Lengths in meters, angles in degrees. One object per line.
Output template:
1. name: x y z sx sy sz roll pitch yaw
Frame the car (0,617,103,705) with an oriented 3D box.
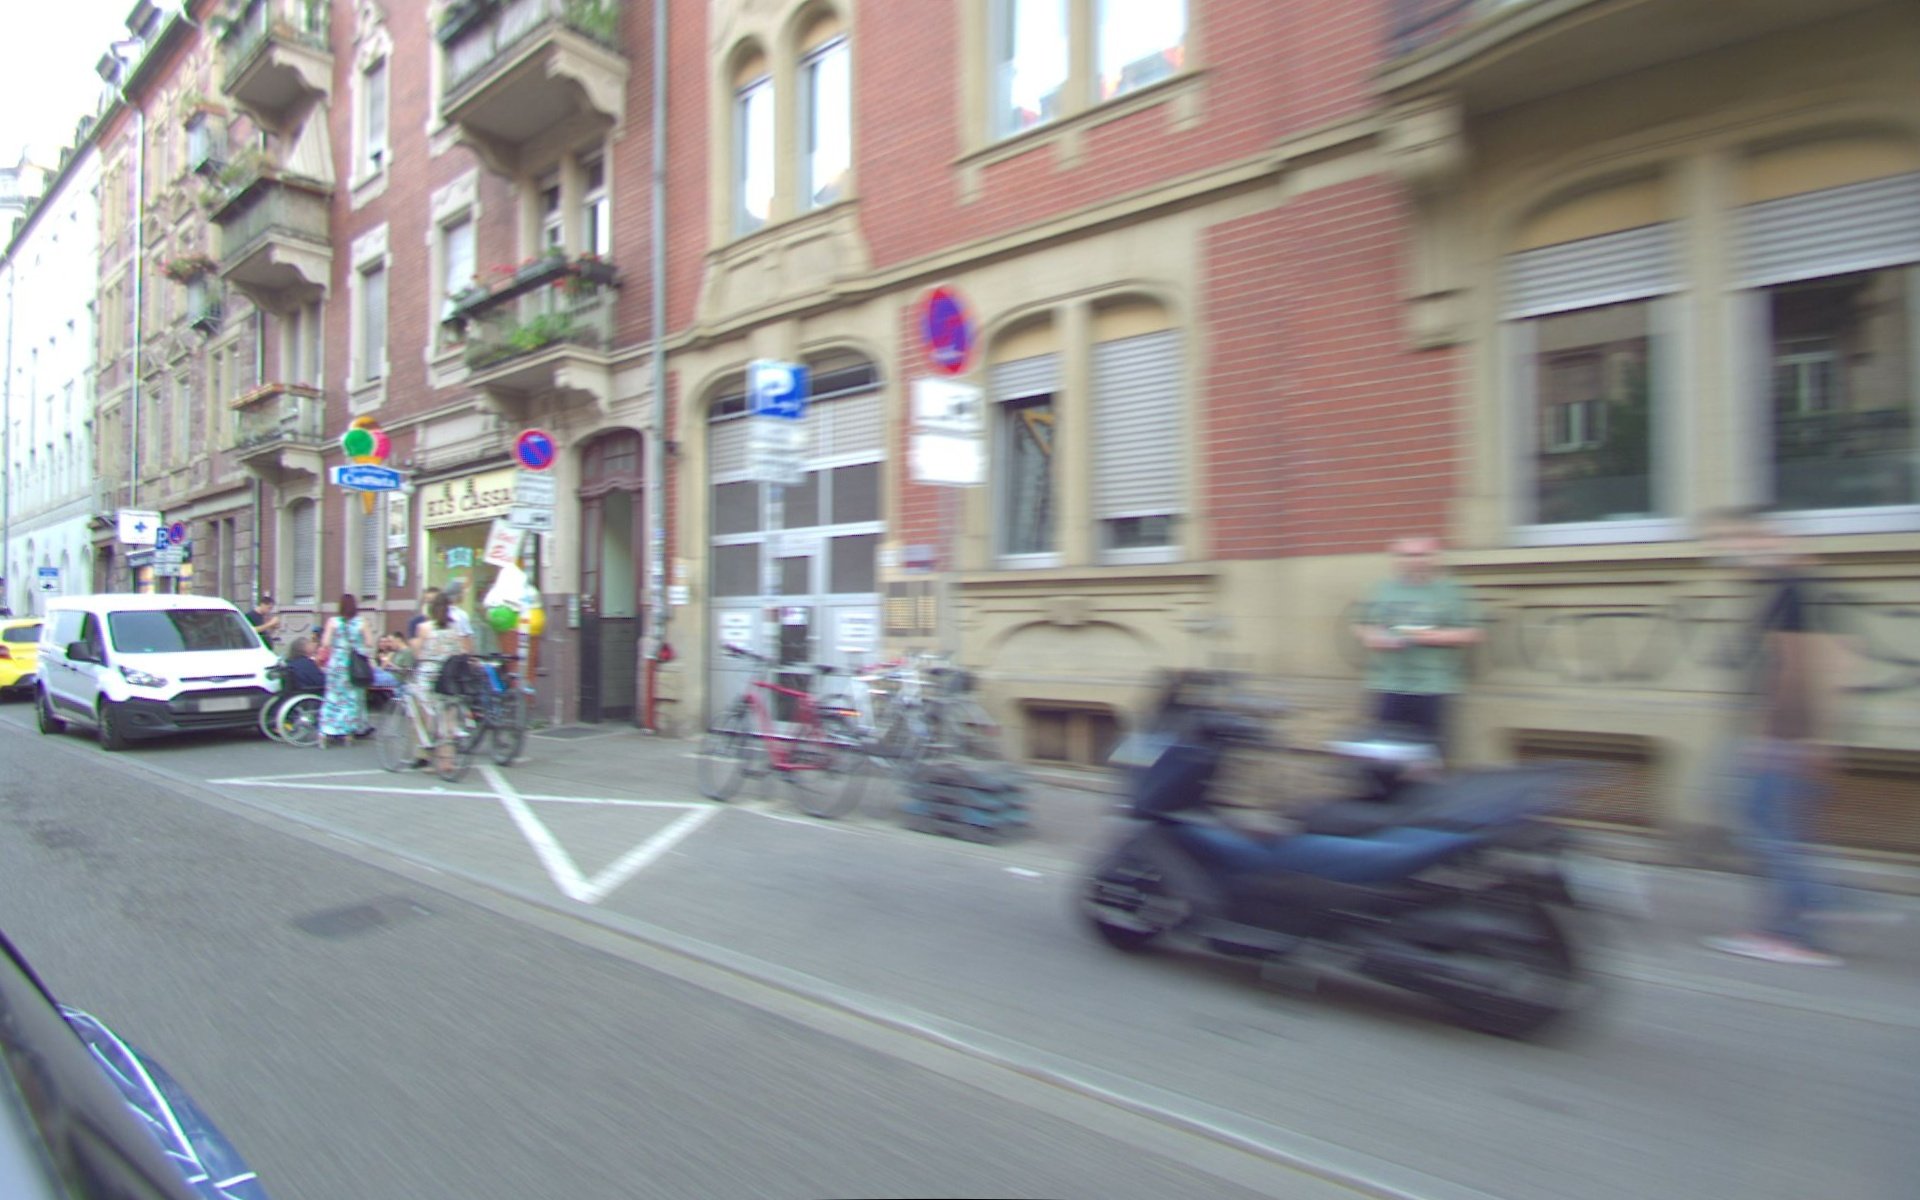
1. car: -17.857 1.115 19.355 3.790 1.541 1.687 -2 -2 41

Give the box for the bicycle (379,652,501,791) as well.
1. bicycle: -4.641 1.031 8.991 1.520 1.076 0.460 -1 0 43

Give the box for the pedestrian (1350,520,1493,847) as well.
1. pedestrian: 2.718 0.460 5.966 0.642 1.803 0.458 -1 0 43

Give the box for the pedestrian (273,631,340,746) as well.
1. pedestrian: -7.527 0.998 11.650 0.652 1.260 0.473 -1 0 40

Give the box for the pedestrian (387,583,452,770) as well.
1. pedestrian: -5.109 0.705 9.568 0.349 1.722 0.414 -1 0 34

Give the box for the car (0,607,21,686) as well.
1. car: -25.534 1.171 25.600 4.899 1.897 1.909 -1 -2 39

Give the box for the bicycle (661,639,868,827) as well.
1. bicycle: -1.458 0.893 7.311 1.836 1.168 0.407 -1 0 40

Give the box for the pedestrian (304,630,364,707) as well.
1. pedestrian: -9.787 1.047 15.822 0.572 1.148 0.626 -1 0 37

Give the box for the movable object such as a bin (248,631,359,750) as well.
1. movable object such as a bin: -7.527 0.998 11.613 0.775 1.260 0.878 -1 0 39

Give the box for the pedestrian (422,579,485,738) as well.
1. pedestrian: -6.088 0.674 12.155 0.590 1.827 0.722 0 0 -33

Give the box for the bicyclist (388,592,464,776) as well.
1. bicyclist: -4.838 0.733 9.173 0.487 1.602 0.460 -1 0 42

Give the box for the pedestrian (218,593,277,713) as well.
1. pedestrian: -10.705 0.778 15.224 0.610 1.743 0.587 -1 0 -23

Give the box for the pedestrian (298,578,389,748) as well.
1. pedestrian: -6.901 0.683 11.336 0.718 1.827 0.593 -1 0 31

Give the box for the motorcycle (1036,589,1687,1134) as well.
1. motorcycle: 1.277 0.685 3.561 2.014 1.415 0.677 -1 0 42

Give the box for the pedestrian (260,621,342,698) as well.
1. pedestrian: -10.918 0.969 16.780 0.502 1.212 1.029 -1 0 37

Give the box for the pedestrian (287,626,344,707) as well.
1. pedestrian: -10.460 1.057 16.438 0.584 1.261 0.613 -1 0 37

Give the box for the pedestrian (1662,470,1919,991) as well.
1. pedestrian: 3.418 0.457 3.883 0.949 1.824 0.683 -1 0 6

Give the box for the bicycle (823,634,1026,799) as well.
1. bicycle: -0.329 0.880 8.172 1.836 1.168 0.407 -1 0 40

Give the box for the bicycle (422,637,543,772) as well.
1. bicycle: -4.766 0.977 10.029 0.460 1.164 2.002 0 0 -44

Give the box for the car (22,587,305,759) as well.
1. car: -10.150 0.788 12.769 4.580 1.802 1.754 -1 0 38

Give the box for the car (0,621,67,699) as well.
1. car: -21.364 1.299 22.389 3.967 1.608 1.907 -2 -2 41

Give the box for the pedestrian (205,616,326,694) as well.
1. pedestrian: -11.566 0.889 16.895 0.641 1.212 1.547 -1 0 37
